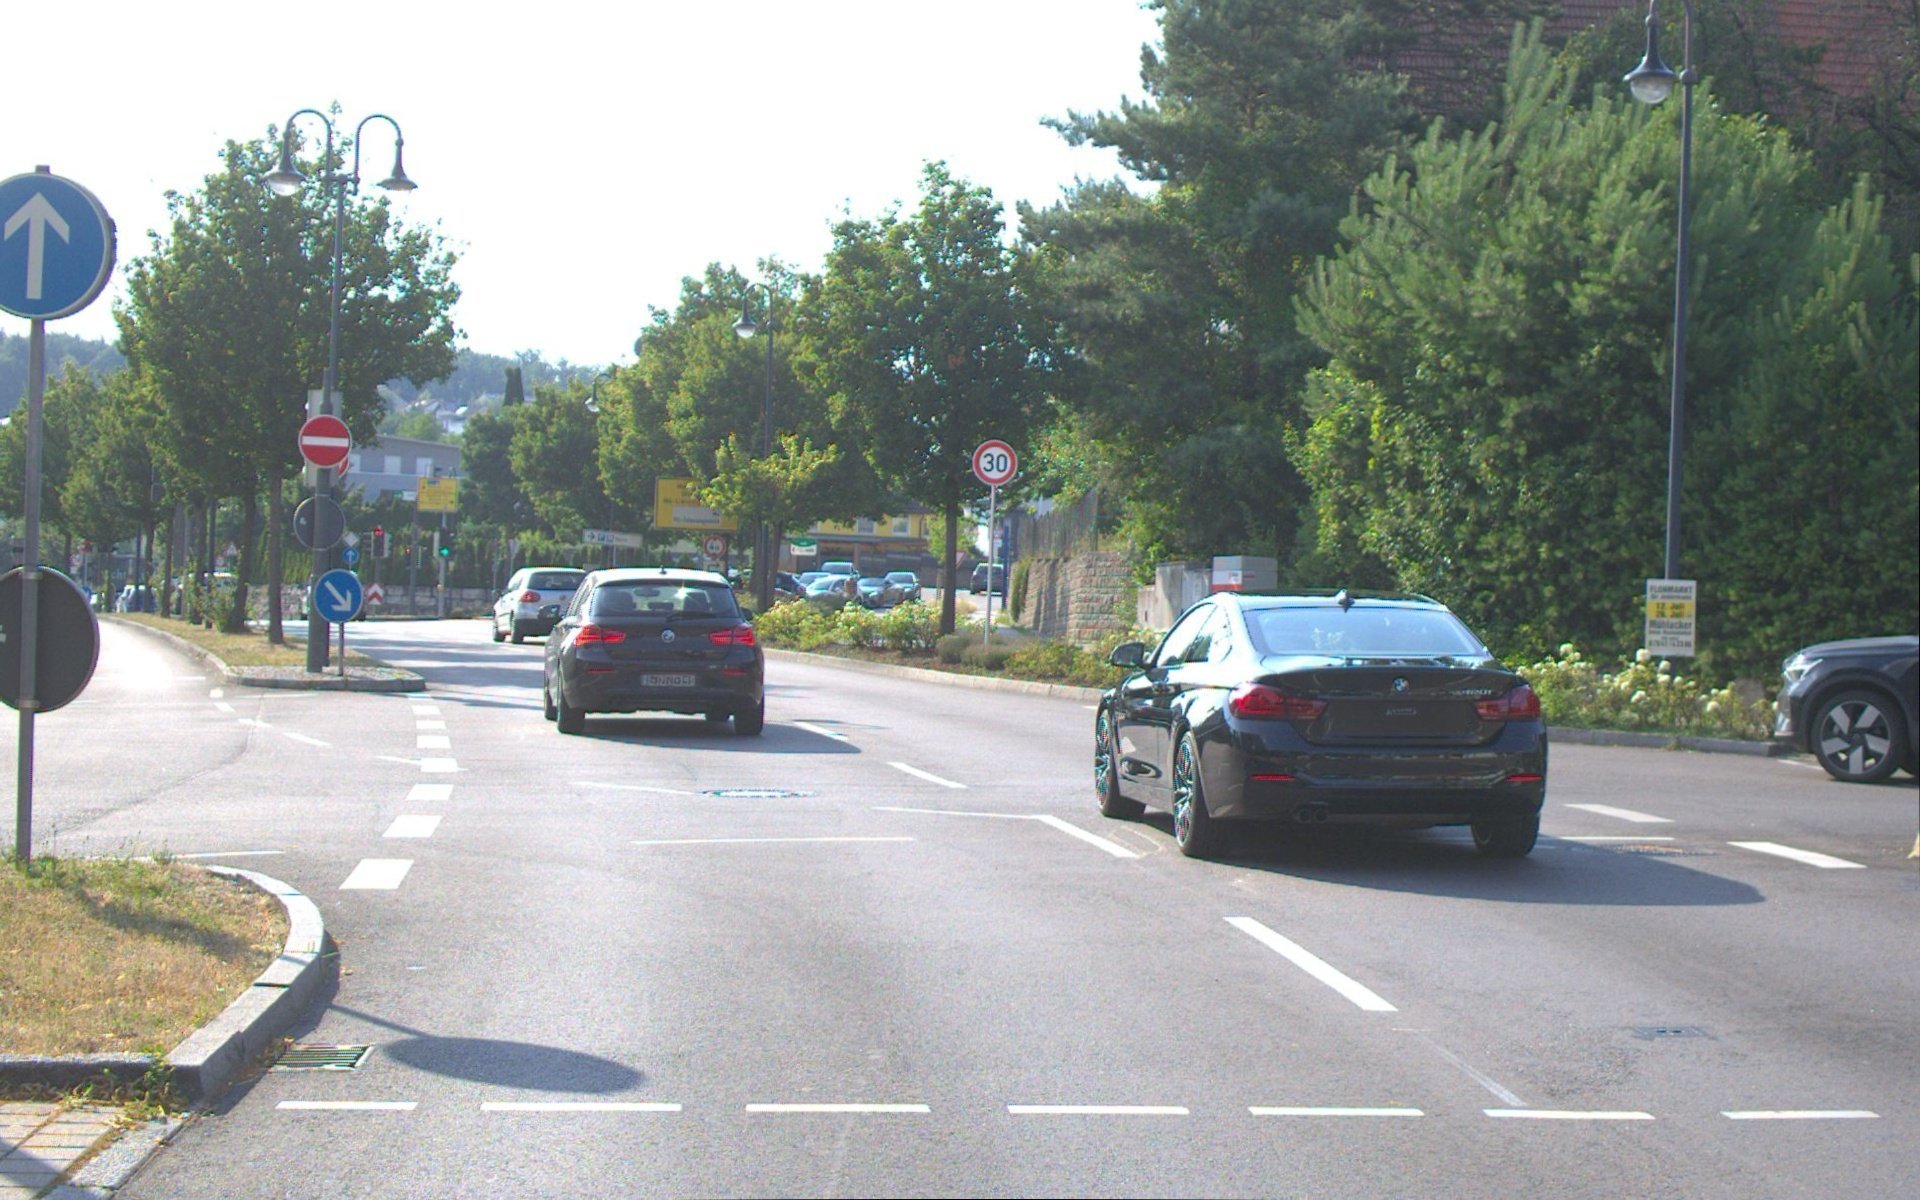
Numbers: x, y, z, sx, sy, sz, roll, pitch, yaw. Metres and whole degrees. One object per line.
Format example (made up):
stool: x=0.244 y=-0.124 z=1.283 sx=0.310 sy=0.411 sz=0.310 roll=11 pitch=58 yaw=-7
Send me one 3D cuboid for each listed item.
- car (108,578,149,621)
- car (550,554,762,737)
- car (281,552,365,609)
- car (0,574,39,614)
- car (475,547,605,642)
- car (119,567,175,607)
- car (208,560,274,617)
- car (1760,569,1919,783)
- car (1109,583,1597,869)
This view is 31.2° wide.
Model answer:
car: x=-41.114 y=-0.040 z=170.032 sx=1.772 sy=2.007 sz=4.001 roll=1 pitch=0 yaw=-12
car: x=-2.792 y=0.363 z=30.849 sx=1.720 sy=1.485 sz=4.354 roll=2 pitch=0 yaw=-7
car: x=-20.610 y=-0.649 z=111.112 sx=2.216 sy=1.763 sz=4.456 roll=1 pitch=0 yaw=-16
car: x=-41.309 y=-0.265 z=150.751 sx=1.729 sy=1.673 sz=4.001 roll=1 pitch=0 yaw=-15
car: x=-8.196 y=-0.121 z=66.811 sx=1.924 sy=1.763 sz=4.456 roll=1 pitch=0 yaw=-14
car: x=-36.717 y=-0.594 z=155.179 sx=2.216 sy=1.763 sz=4.456 roll=1 pitch=0 yaw=-16
car: x=-23.253 y=-0.379 z=111.150 sx=1.755 sy=1.763 sz=3.972 roll=1 pitch=0 yaw=-16
car: x=8.347 y=0.598 z=25.622 sx=4.266 sy=1.561 sz=1.789 roll=2 pitch=1 yaw=36
car: x=2.003 y=0.607 z=18.851 sx=1.920 sy=1.359 sz=4.353 roll=1 pitch=0 yaw=-3
